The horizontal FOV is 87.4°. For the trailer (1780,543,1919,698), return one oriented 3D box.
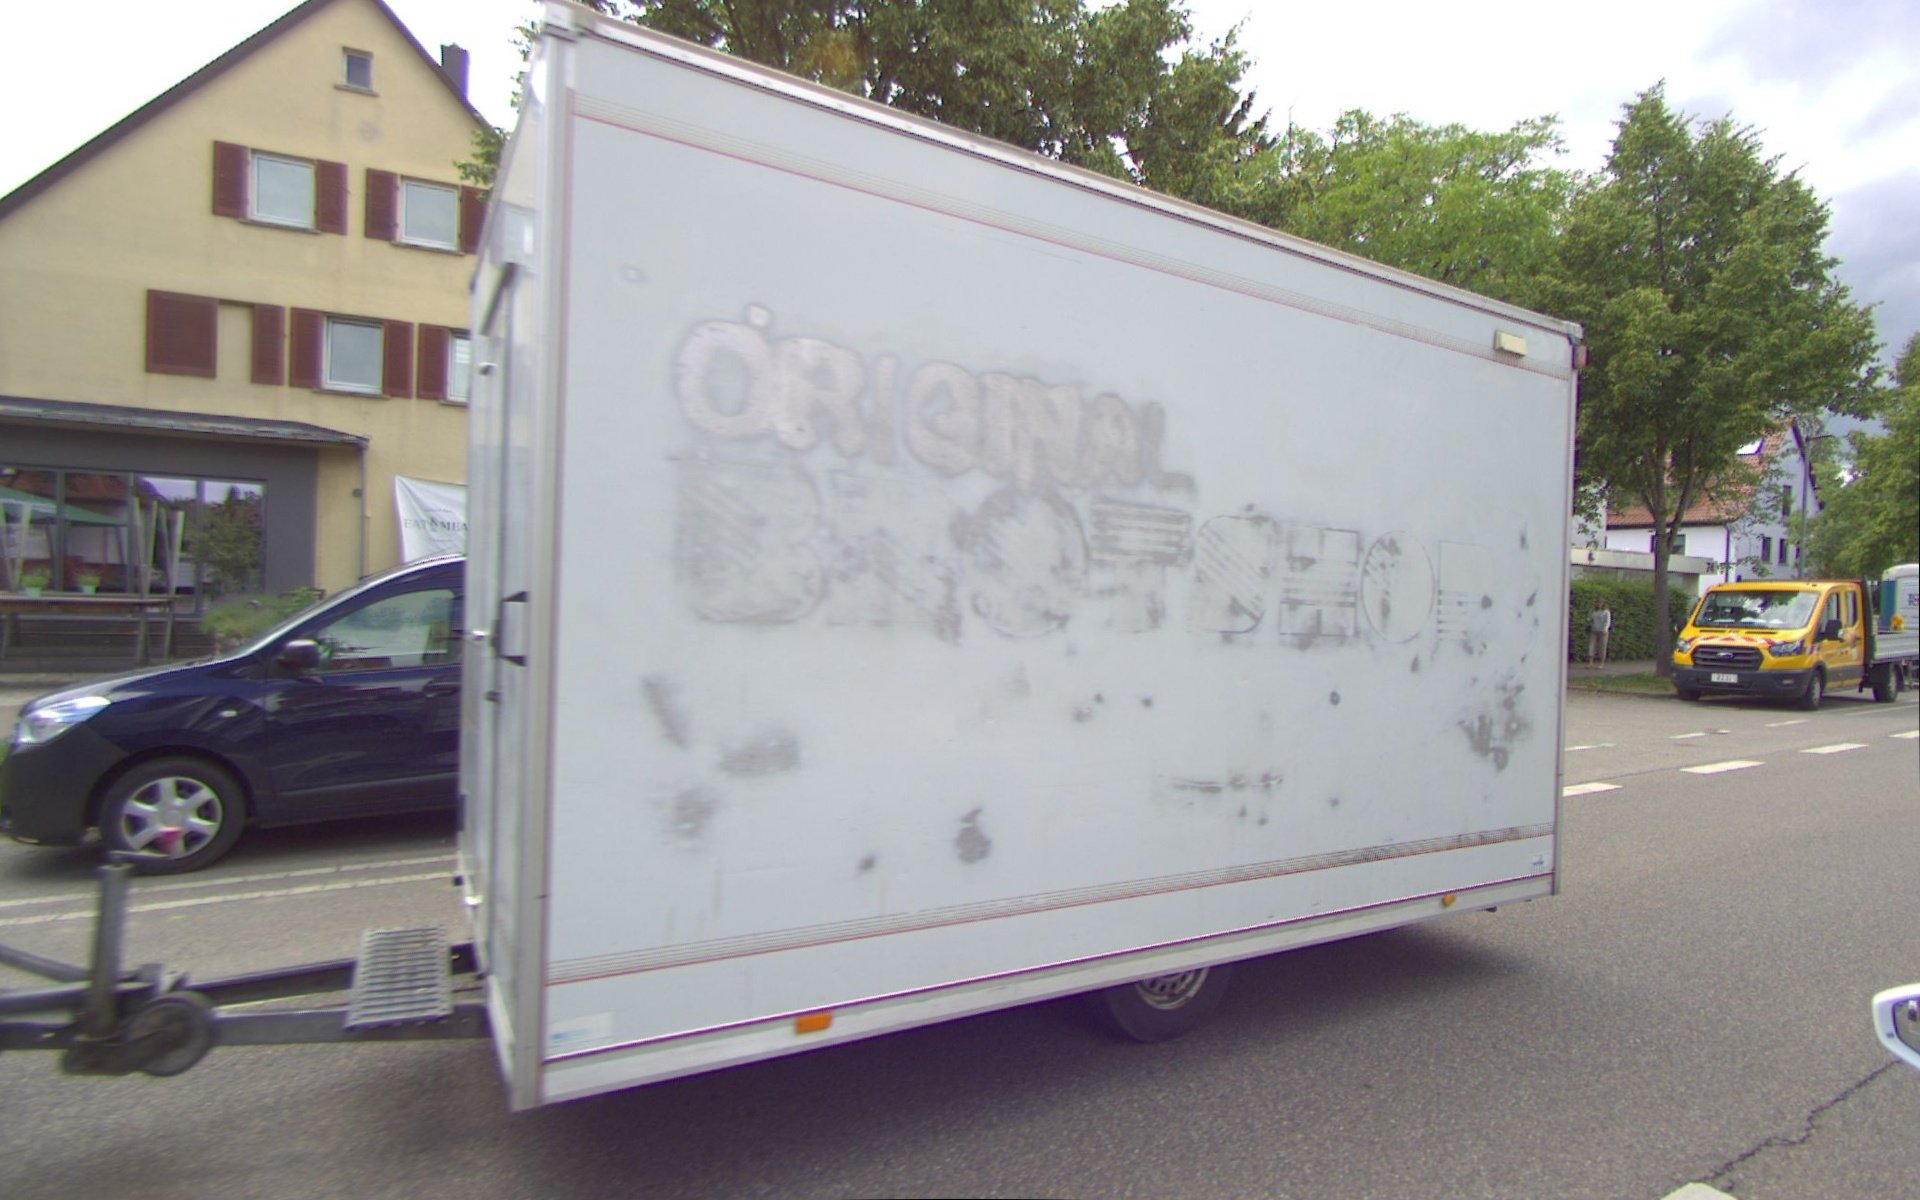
[{"bbox_3d":[21.057,0.455,22.192,6.930,3.002,2.360,1,0,-31],"label":"trailer"}]

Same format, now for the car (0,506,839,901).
[{"bbox_3d":[-3.156,0.531,6.680,4.348,1.899,1.698,1,0,-31],"label":"car"}]

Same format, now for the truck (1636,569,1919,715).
[{"bbox_3d":[15.423,0.715,18.649,6.389,2.317,2.283,1,0,-31],"label":"truck"}]

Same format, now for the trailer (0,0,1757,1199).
[{"bbox_3d":[0.428,0.060,4.408,6.793,2.917,2.621,1,0,-31],"label":"trailer"}]

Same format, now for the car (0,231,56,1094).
[{"bbox_3d":[-5.188,0.152,0.856,6.243,2.513,2.048,1,0,-32],"label":"car"}]

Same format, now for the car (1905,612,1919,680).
[{"bbox_3d":[26.099,1.227,25.911,4.183,1.706,1.678,2,0,-35],"label":"car"}]

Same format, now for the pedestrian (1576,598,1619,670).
[{"bbox_3d":[15.854,0.834,24.986,0.713,1.765,0.638,1,1,-31],"label":"pedestrian"}]
